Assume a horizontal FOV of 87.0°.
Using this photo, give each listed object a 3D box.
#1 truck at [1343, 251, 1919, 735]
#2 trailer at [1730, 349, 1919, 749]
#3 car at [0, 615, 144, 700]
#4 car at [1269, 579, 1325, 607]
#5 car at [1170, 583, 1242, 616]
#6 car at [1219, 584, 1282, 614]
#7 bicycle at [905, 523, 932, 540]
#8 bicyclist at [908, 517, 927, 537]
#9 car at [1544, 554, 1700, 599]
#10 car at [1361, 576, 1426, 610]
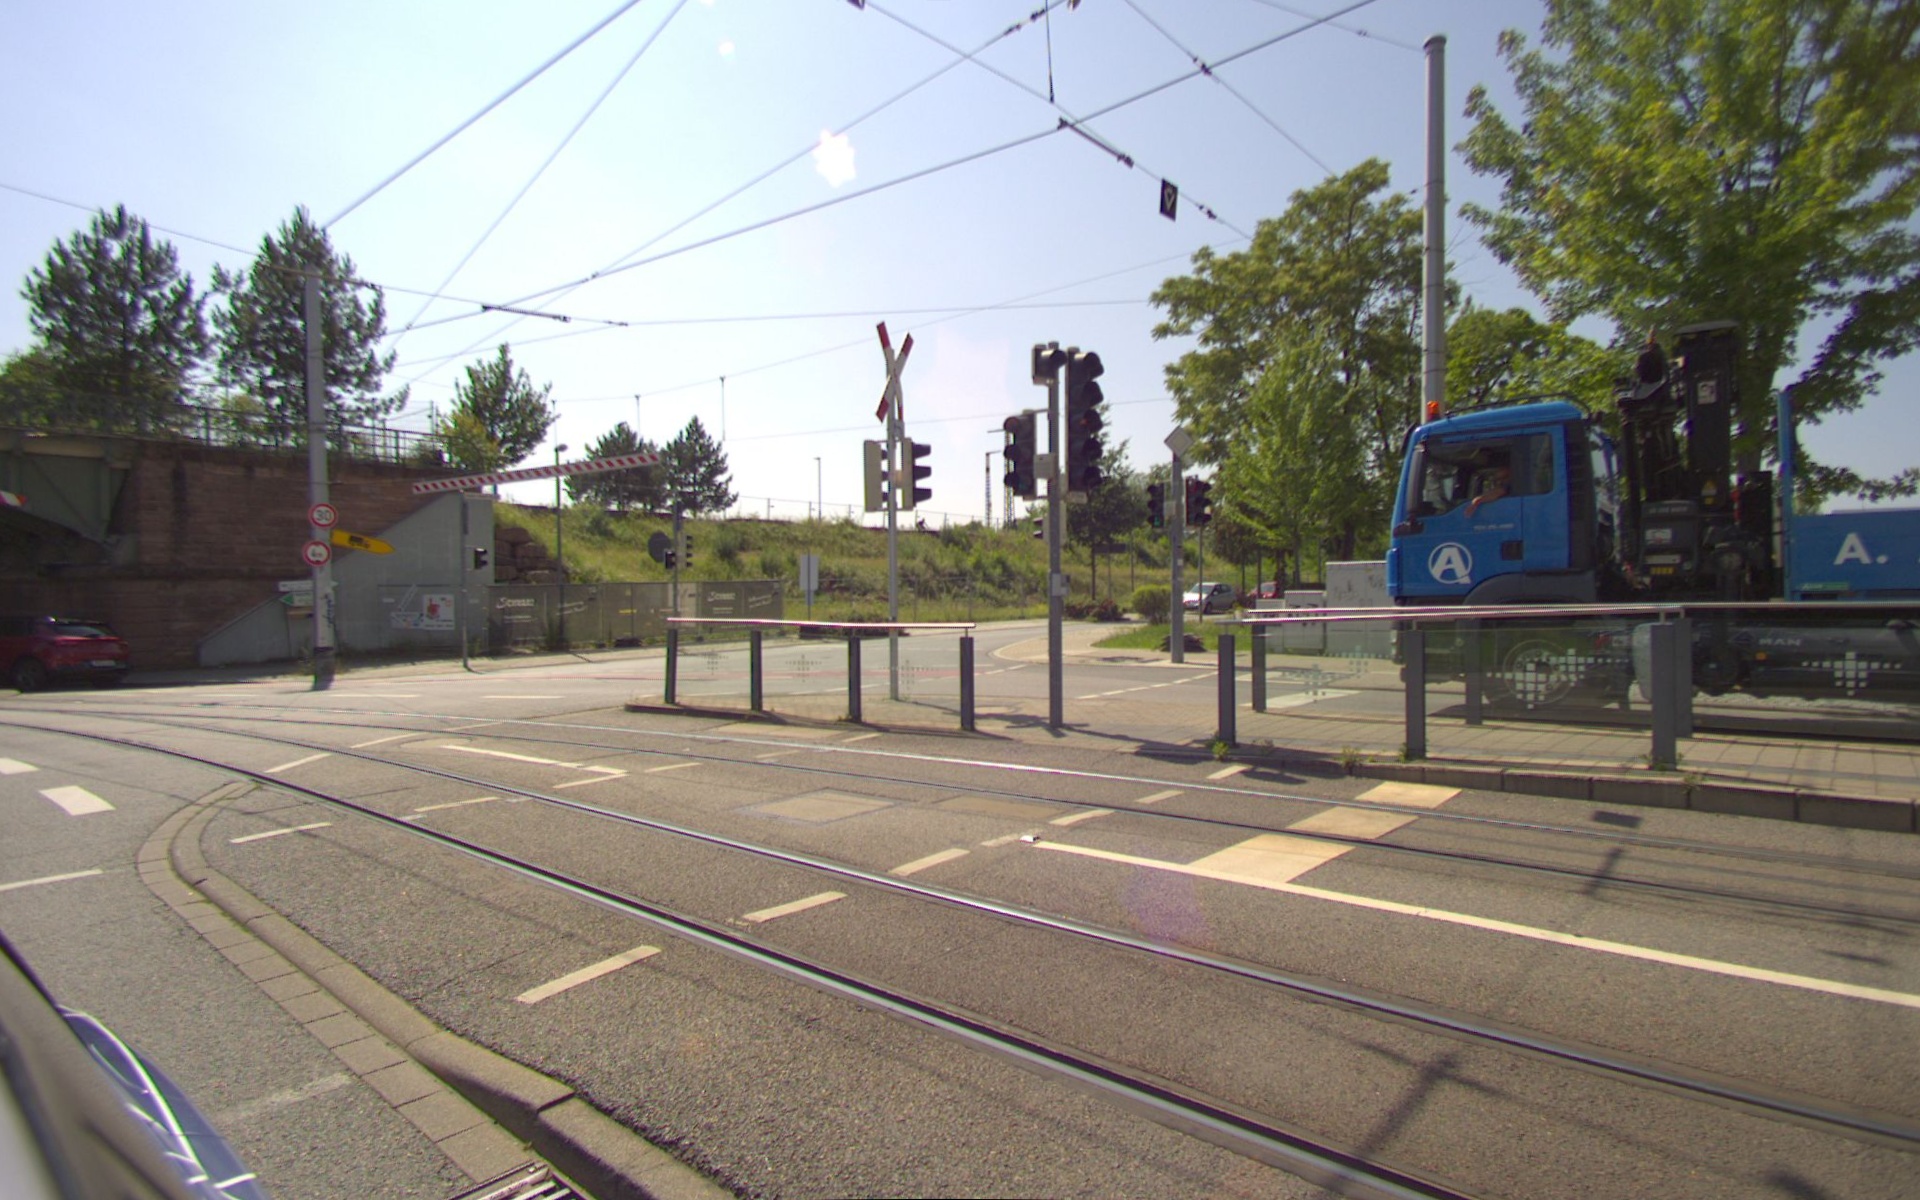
[{"bbox_3d":[6.767,-0.772,9.809,5.037,3.636,2.715,-2,-1,41],"label":"truck"},{"bbox_3d":[9.853,-0.445,7.082,6.895,3.000,2.715,-2,-1,41],"label":"trailer"},{"bbox_3d":[-20.204,1.234,21.591,4.252,1.615,1.820,-2,1,5],"label":"car"},{"bbox_3d":[20.737,-0.447,62.196,1.848,1.628,3.944,1,2,42],"label":"car"},{"bbox_3d":[13.045,-0.040,53.424,1.848,1.628,4.309,2,2,42],"label":"car"},{"bbox_3d":[16.211,-0.087,56.340,1.848,1.628,3.944,1,2,42],"label":"car"},{"bbox_3d":[-3.208,-5.242,77.720,0.934,1.222,2.150,-3,0,33],"label":"bicycle"},{"bbox_3d":[-3.246,-5.611,77.734,0.950,1.398,1.051,-3,0,33],"label":"bicyclist"},{"bbox_3d":[26.272,-0.896,40.311,4.763,1.504,1.847,-3,-1,10],"label":"car"},{"bbox_3d":[21.266,-0.347,49.556,1.766,1.504,3.945,-3,-1,41],"label":"car"}]
